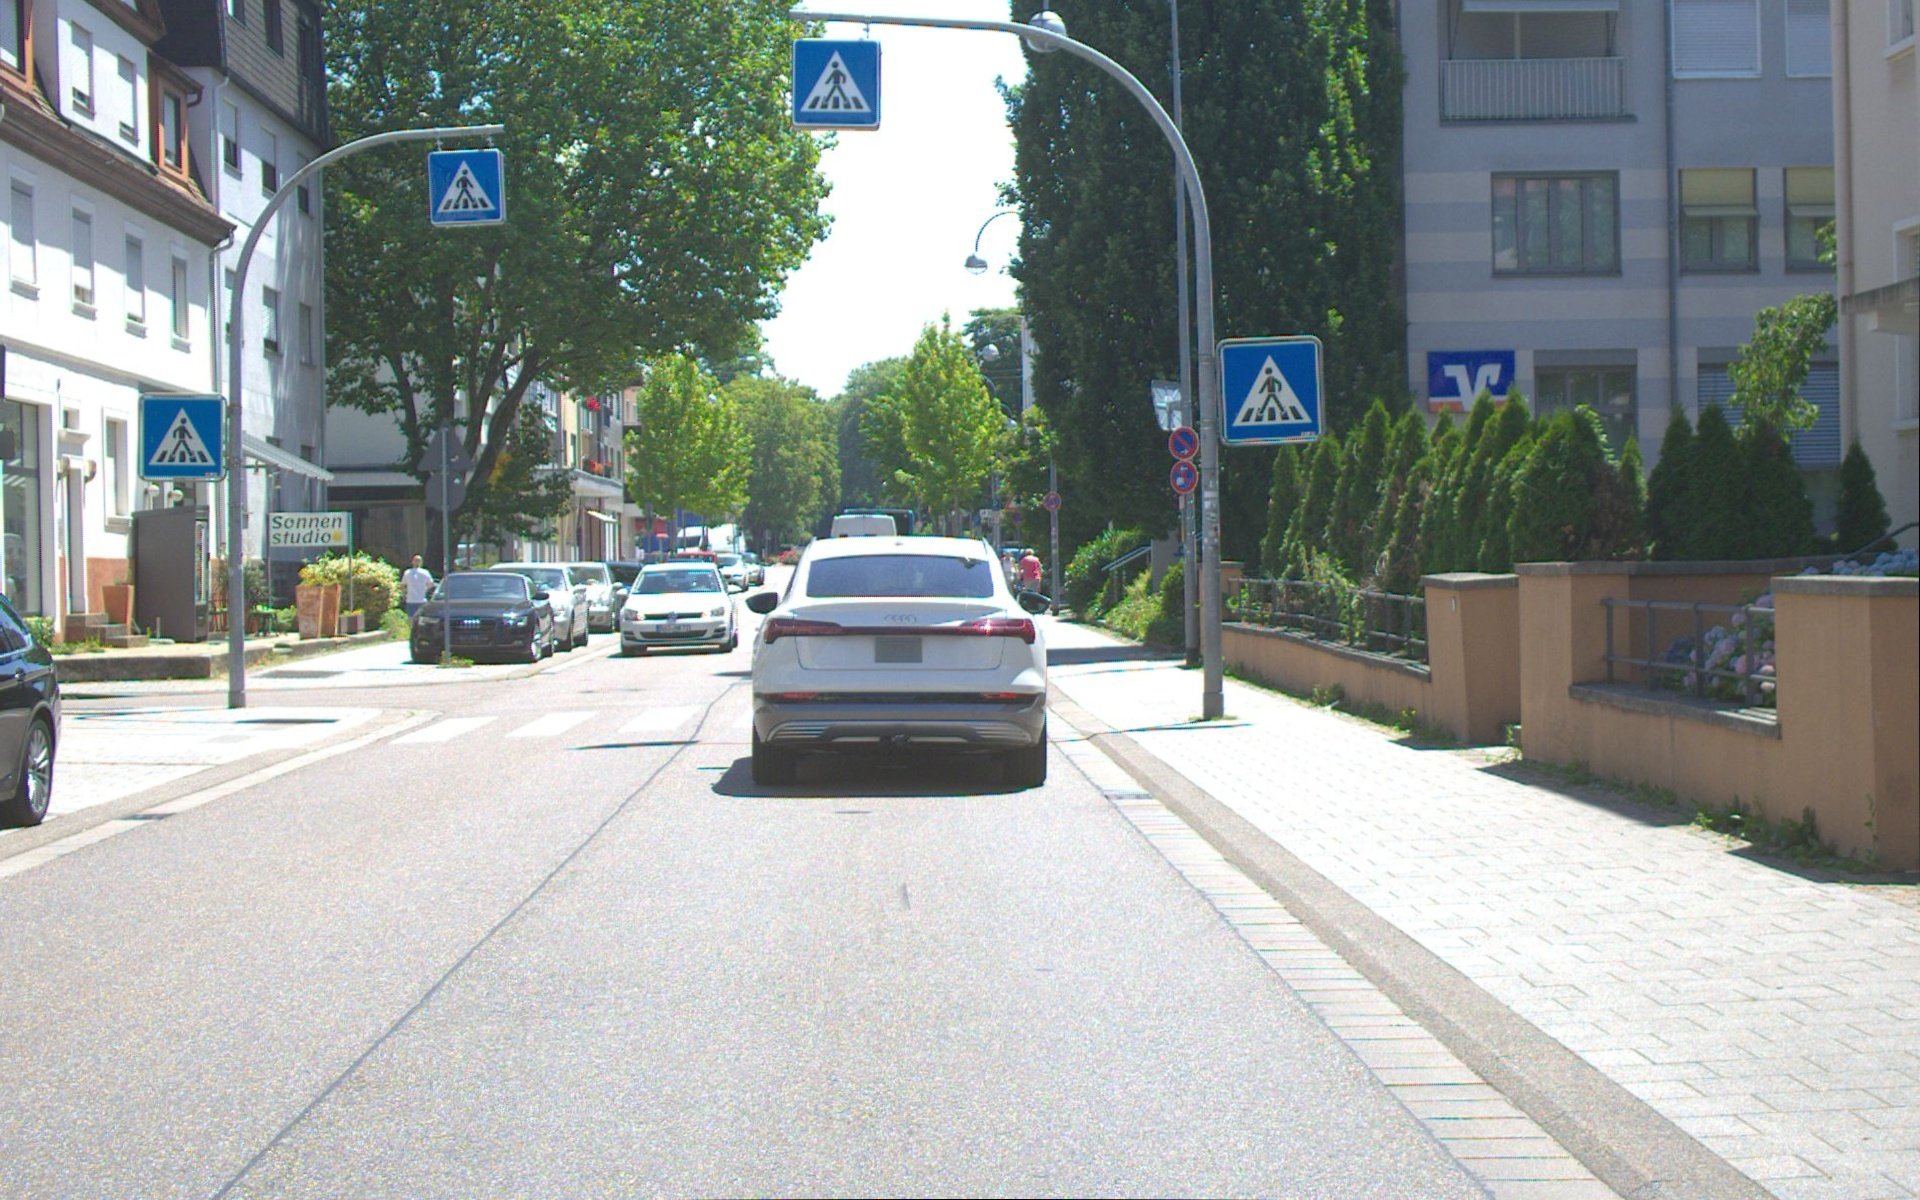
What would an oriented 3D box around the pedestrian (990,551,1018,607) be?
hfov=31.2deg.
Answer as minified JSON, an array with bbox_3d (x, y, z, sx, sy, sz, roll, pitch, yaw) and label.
[{"bbox_3d":[1.328,-0.638,104.256,0.700,1.621,0.784,-4,0,-3],"label":"pedestrian"}]

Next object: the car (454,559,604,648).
[{"bbox_3d":[-7.345,0.025,59.021,1.981,1.447,5.358,0,1,-1],"label":"car"}]

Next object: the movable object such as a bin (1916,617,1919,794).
[{"bbox_3d":[4.654,0.620,15.272,0.624,1.096,0.633,-2,1,1],"label":"movable object such as a bin"}]

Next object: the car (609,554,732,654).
[{"bbox_3d":[-4.649,0.042,55.714,1.807,1.477,3.870,-3,1,-3],"label":"car"}]

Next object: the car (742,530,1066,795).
[{"bbox_3d":[-0.435,0.360,23.280,1.993,1.627,4.001,0,1,-3],"label":"car"}]

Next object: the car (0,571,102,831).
[{"bbox_3d":[-6.384,0.560,19.225,1.916,1.447,5.149,2,1,-1],"label":"car"}]

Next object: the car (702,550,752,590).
[{"bbox_3d":[-9.572,-1.241,141.474,1.752,1.612,4.401,1,1,0],"label":"car"}]

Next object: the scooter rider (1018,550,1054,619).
[{"bbox_3d":[1.756,-0.367,79.043,0.716,1.543,0.770,-2,1,-3],"label":"scooter rider"}]

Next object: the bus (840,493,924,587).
[{"bbox_3d":[-2.744,-2.110,123.034,2.661,3.210,7.301,1,0,1],"label":"bus"}]

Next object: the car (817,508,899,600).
[{"bbox_3d":[-2.783,-1.249,94.627,2.156,2.433,5.284,1,0,-1],"label":"car"}]

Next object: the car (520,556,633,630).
[{"bbox_3d":[-7.857,-0.172,70.737,1.981,1.447,4.869,0,1,-2],"label":"car"}]

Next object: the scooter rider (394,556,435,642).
[{"bbox_3d":[-10.050,-0.025,63.375,0.588,1.570,0.877,1,1,0],"label":"scooter rider"}]

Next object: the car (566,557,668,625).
[{"bbox_3d":[-7.611,-0.223,76.638,1.981,1.447,5.151,0,1,-2],"label":"car"}]

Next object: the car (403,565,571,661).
[{"bbox_3d":[-7.226,0.167,52.953,1.942,1.369,5.098,0,1,-1],"label":"car"}]
